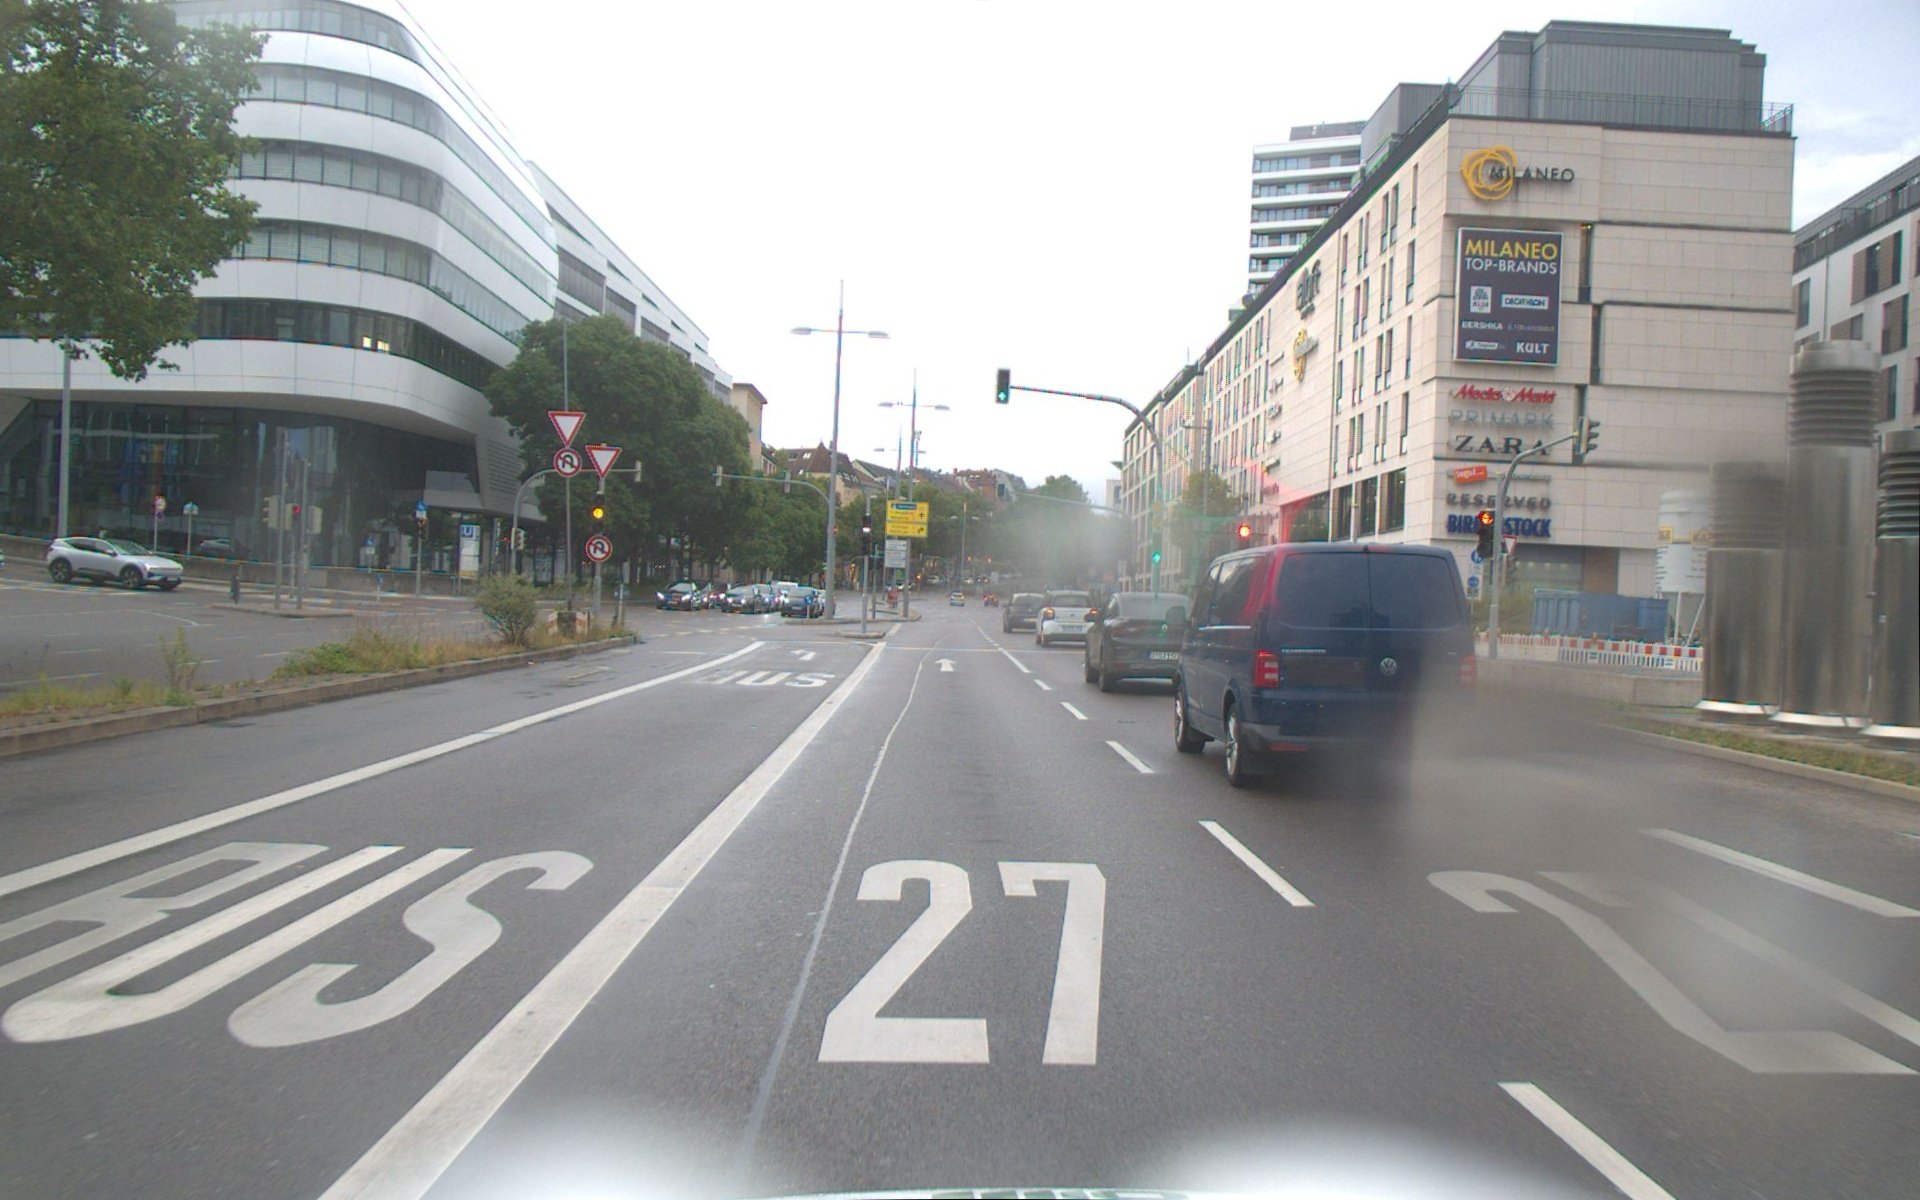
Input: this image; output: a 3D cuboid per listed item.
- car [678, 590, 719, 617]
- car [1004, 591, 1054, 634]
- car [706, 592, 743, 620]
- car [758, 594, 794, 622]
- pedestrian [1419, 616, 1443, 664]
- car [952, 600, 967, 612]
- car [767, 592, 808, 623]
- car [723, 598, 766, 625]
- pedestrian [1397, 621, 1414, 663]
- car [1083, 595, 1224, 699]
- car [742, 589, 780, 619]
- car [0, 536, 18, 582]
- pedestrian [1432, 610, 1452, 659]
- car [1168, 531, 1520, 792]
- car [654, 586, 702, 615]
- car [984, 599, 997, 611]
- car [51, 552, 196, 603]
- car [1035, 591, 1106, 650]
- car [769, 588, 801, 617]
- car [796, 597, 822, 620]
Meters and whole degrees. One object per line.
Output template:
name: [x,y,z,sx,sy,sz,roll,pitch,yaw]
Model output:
car: [-14.687,0.204,93.071,1.707,1.448,3.539,1,-1,0]
car: [2.601,0.501,62.843,1.704,1.558,3.813,1,-1,0]
car: [-14.048,0.352,98.821,1.707,1.586,3.539,1,-1,0]
car: [-10.902,0.500,98.042,1.707,1.586,3.539,1,-1,0]
pedestrian: [16.854,1.416,59.164,0.608,1.701,0.824,1,-1,0]
car: [-0.056,0.749,211.847,1.706,1.558,3.810,1,0,-4]
car: [-8.851,0.394,84.996,1.707,1.470,3.394,1,-1,0]
car: [-11.202,0.590,86.179,1.707,1.279,3.539,2,0,0]
pedestrian: [17.982,1.690,66.766,0.582,1.671,0.587,1,-1,24]
car: [3.101,0.700,27.285,1.754,1.533,4.338,1,0,0]
car: [-11.213,0.255,93.362,1.707,1.586,3.539,1,-1,0]
car: [-36.969,-1.555,60.746,3.902,1.660,1.896,1,-1,16]
pedestrian: [17.788,1.275,61.039,0.434,1.811,0.590,2,-1,-27]
car: [3.188,0.434,14.888,1.991,1.915,5.042,-1,1,0]
car: [-14.367,0.059,84.496,1.707,1.352,4.225,1,-1,0]
car: [4.162,0.736,224.272,1.704,1.558,3.813,1,-1,0]
car: [-29.503,-0.798,58.337,4.406,1.660,1.896,1,-1,16]
car: [3.075,0.586,46.610,1.689,1.558,3.813,1,-1,0]
car: [-11.320,0.199,107.062,1.707,1.779,3.539,1,-1,0]
car: [-12.221,0.673,134.085,1.707,1.779,3.539,1,-1,0]
